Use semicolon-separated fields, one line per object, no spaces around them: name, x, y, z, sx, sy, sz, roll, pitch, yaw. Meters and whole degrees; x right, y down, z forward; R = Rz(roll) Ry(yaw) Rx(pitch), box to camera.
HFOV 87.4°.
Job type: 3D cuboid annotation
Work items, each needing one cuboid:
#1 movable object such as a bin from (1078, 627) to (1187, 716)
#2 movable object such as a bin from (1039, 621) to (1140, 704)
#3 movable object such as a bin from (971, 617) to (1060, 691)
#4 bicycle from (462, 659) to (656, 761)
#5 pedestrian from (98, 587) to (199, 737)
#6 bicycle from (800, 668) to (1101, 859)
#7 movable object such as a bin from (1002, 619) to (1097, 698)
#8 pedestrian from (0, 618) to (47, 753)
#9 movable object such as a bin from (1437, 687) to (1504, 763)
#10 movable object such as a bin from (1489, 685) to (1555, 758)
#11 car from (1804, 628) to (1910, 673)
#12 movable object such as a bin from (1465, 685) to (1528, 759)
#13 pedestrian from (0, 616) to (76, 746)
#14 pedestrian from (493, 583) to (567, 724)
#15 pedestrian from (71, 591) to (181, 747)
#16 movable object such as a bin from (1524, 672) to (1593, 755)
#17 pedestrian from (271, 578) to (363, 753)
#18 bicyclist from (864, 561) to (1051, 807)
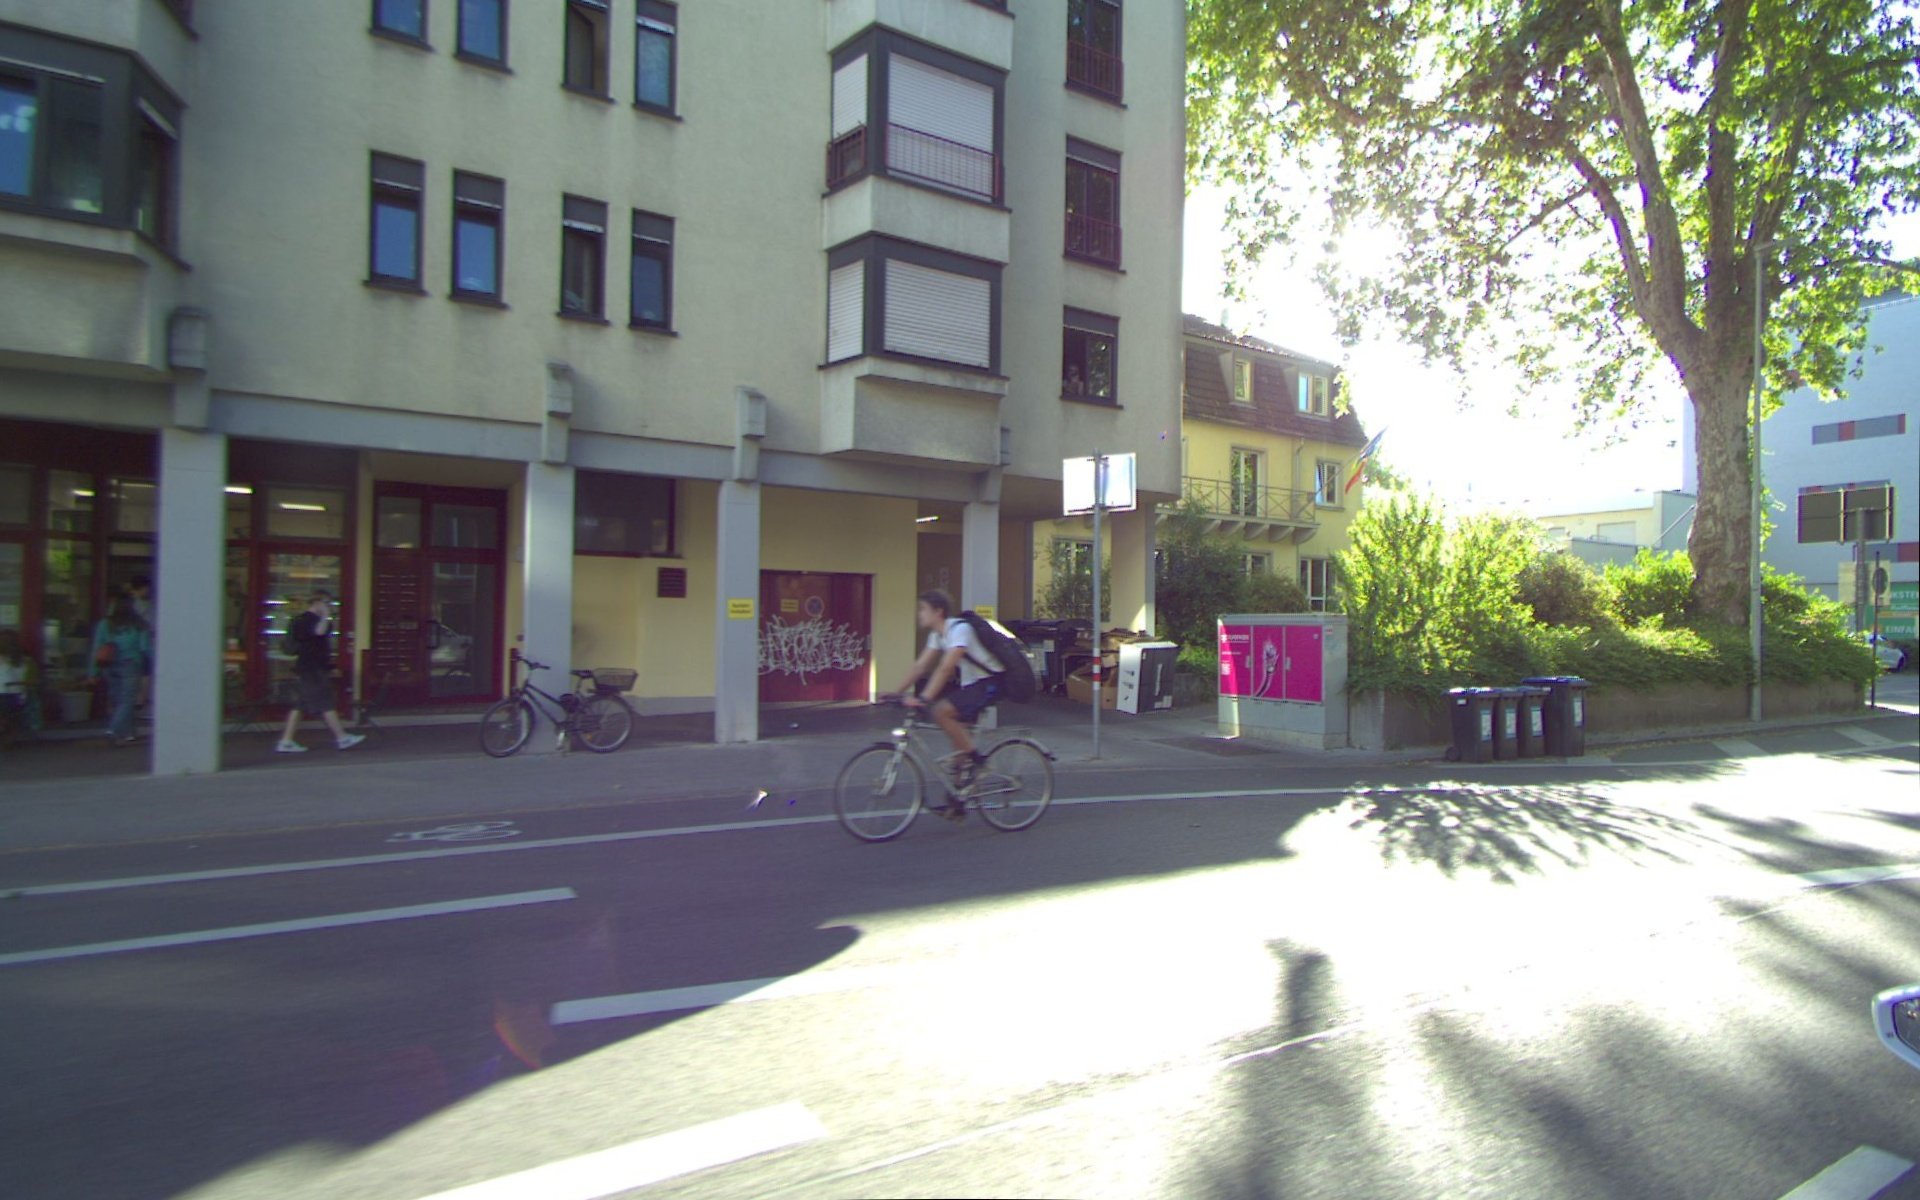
movable object such as a bin;2.981;1.210;17.411;1.352;1.361;1.181;1;4;-30
movable object such as a bin;2.369;1.121;18.486;1.352;1.361;1.181;1;4;-30
movable object such as a bin;1.136;1.097;20.627;1.352;1.361;1.181;1;4;-30
bicycle;-4.527;1.218;11.423;1.988;1.059;0.446;2;-1;-31
pedestrian;-9.925;0.742;12.302;0.697;1.765;0.615;2;0;11
bicycle;-0.036;1.127;7.441;2.152;1.215;0.725;2;-2;-29
movable object such as a bin;1.733;1.117;19.592;1.352;1.361;1.181;1;4;-30
pedestrian;-10.213;0.885;10.613;0.606;1.370;0.707;2;0;-24
movable object such as a bin;6.630;1.604;13.051;0.597;0.913;0.539;2;-1;-30
movable object such as a bin;7.653;1.641;13.671;0.637;0.913;0.539;2;-1;-30
car;33.054;1.840;37.007;3.954;1.483;1.780;2;1;-31
movable object such as a bin;7.132;1.608;13.354;0.552;0.913;0.539;2;-1;-30
pedestrian;-10.480;0.887;11.274;0.606;1.396;0.707;2;0;-24
pedestrian;-5.933;0.731;13.882;0.782;1.894;0.613;2;0;-13
pedestrian;-9.437;0.758;11.377;0.697;1.688;0.615;2;0;11
movable object such as a bin;8.277;1.550;13.888;0.637;1.085;0.591;2;-1;-30
pedestrian;-7.297;0.717;11.430;0.797;1.894;0.818;2;0;-31
bicyclist;-0.023;0.590;7.399;1.153;1.663;0.725;2;-1;-29
